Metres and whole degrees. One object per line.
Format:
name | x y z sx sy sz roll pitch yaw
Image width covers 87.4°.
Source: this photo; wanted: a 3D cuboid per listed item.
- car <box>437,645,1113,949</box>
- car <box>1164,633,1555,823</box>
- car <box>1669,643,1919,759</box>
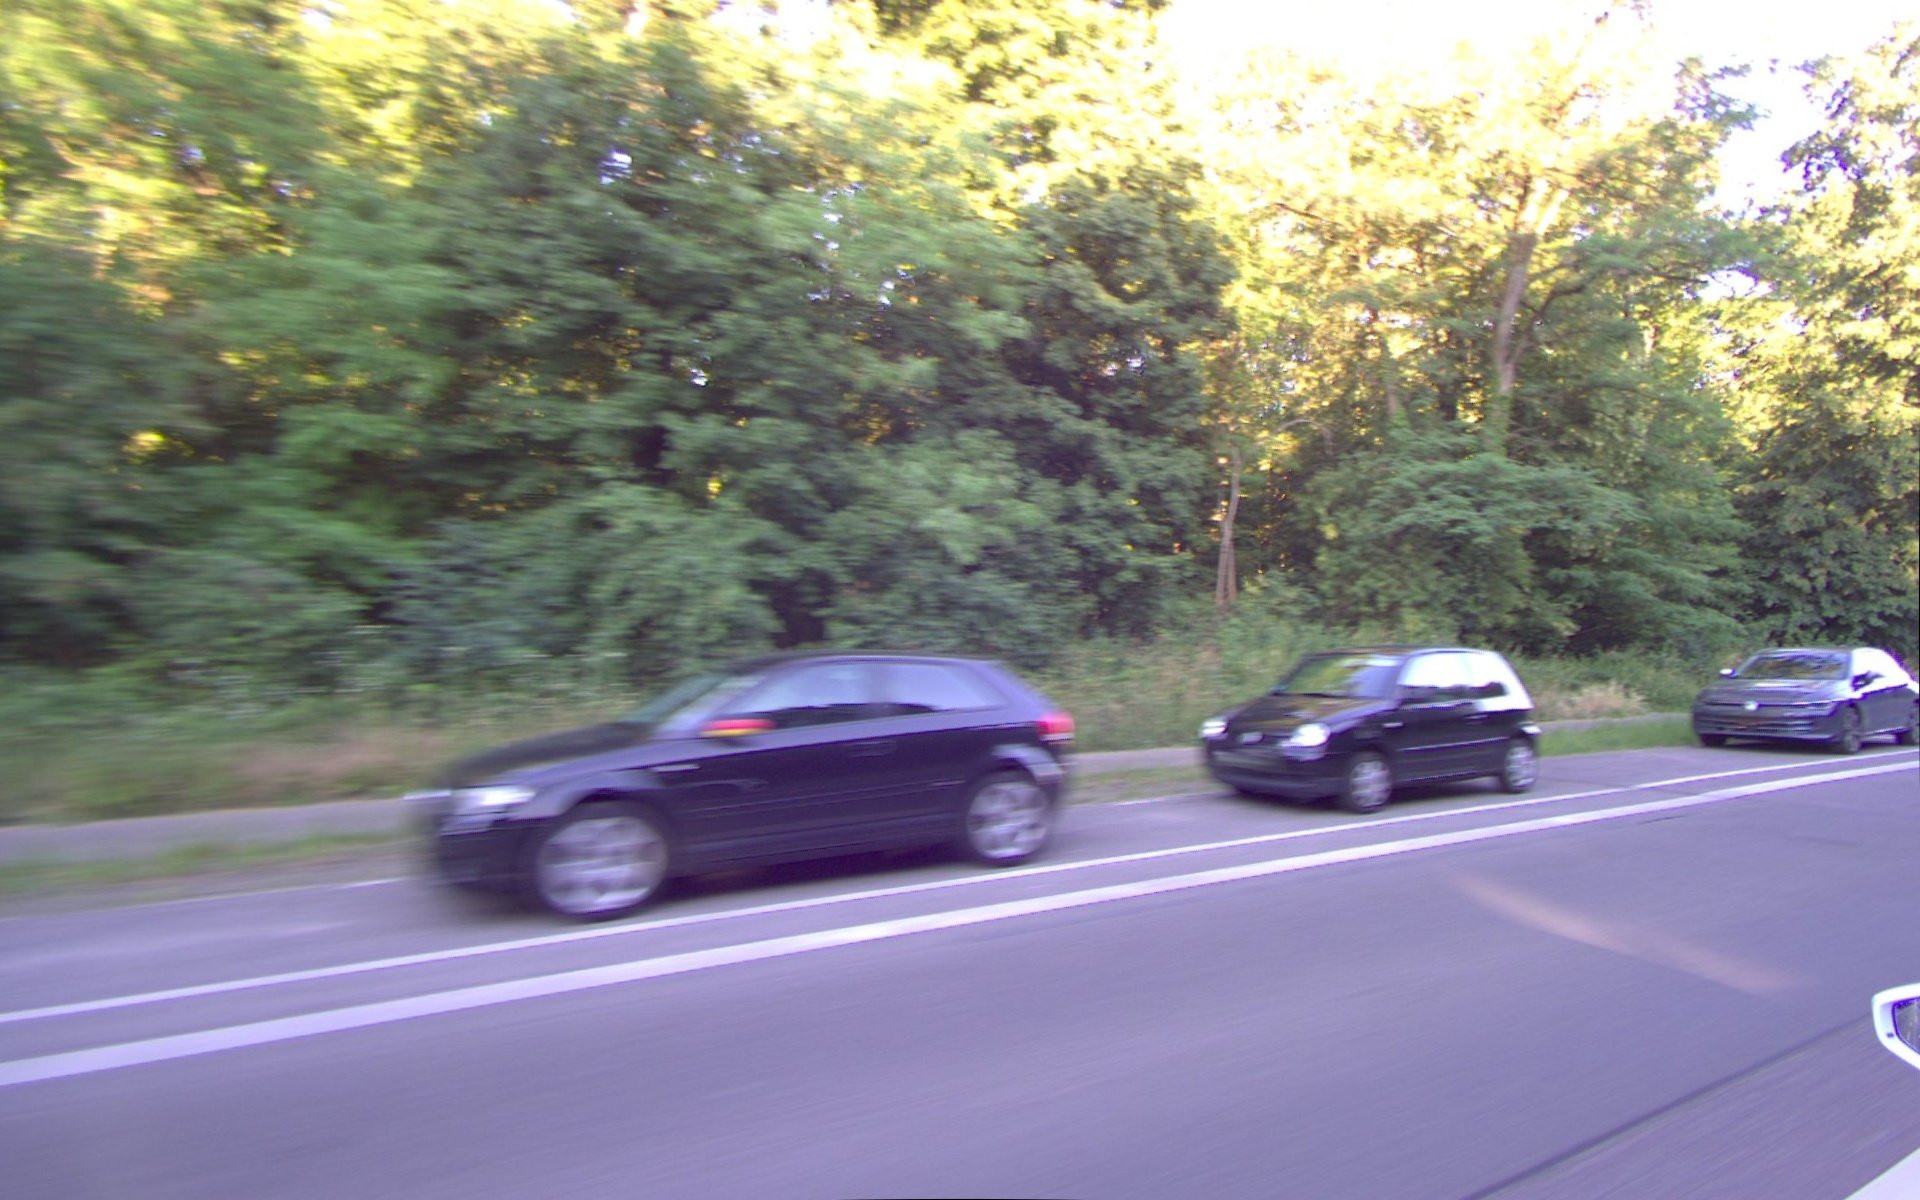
car | -1.069 1.007 6.480 4.005 1.413 1.590 1 -2 -31
car | 3.932 1.111 9.806 3.615 1.528 1.703 1 -3 -31
car | 12.463 1.388 14.797 4.183 1.482 1.835 1 -3 -33
